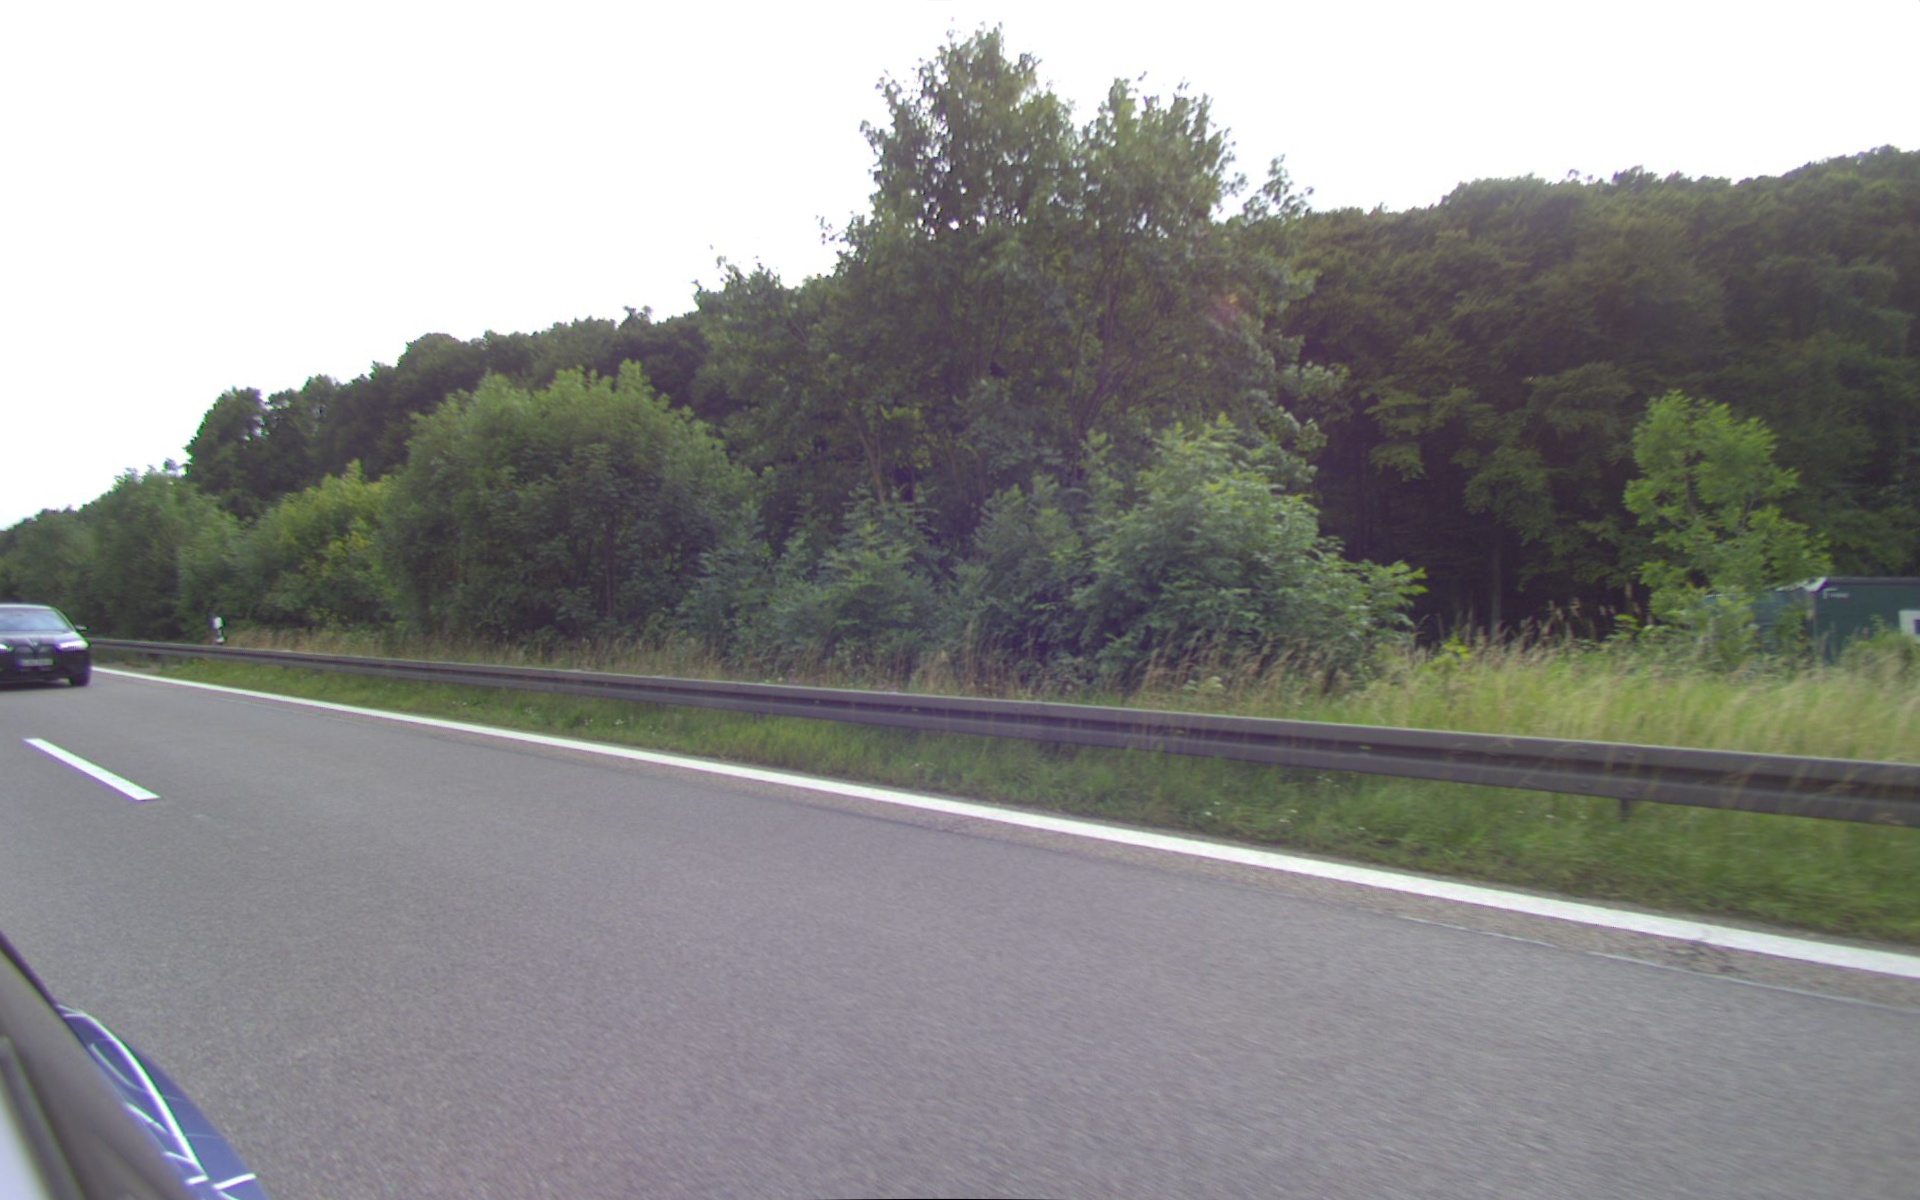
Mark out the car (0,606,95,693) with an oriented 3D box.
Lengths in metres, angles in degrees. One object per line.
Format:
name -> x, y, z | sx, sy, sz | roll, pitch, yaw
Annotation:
car -> -19.869, 0.988, 21.199 | 4.411, 1.678, 1.973 | -1, -1, 40

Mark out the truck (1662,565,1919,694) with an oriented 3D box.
truck -> 22.947, 0.775, 27.631 | 5.701, 3.244, 3.134 | -1, -1, 26

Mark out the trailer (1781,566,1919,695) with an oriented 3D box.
trailer -> 29.105, 0.670, 24.576 | 13.741, 3.244, 3.134 | -1, -1, 26
